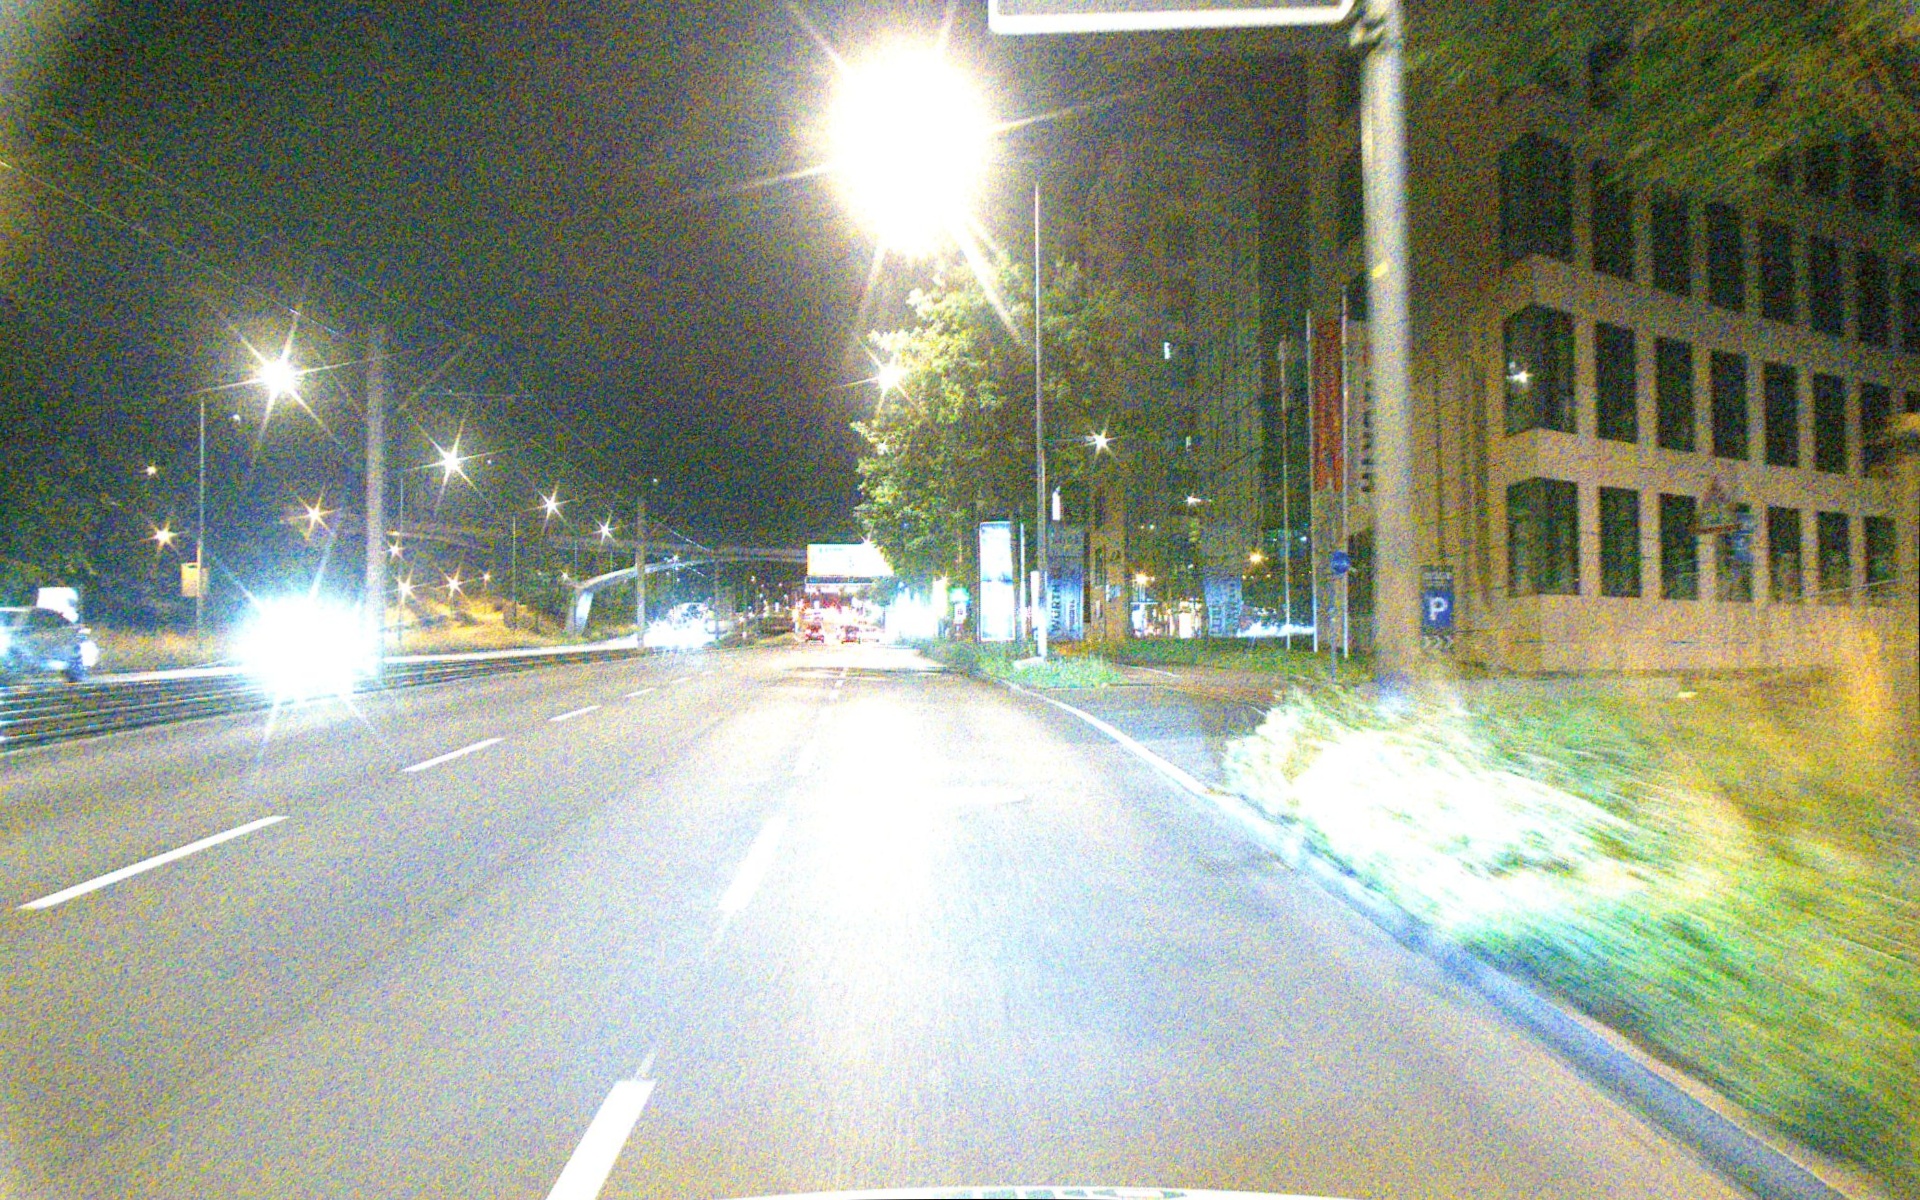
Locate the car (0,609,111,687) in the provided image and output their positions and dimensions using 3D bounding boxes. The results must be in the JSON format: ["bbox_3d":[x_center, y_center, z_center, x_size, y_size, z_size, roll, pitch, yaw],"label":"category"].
[{"bbox_3d":[-20.112,1.001,35.115,1.824,1.540,4.612,-2,0,-1],"label":"car"}]

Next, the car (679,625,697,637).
[{"bbox_3d":[-33.845,3.869,205.882,1.873,1.499,3.768,0,0,-4],"label":"car"}]

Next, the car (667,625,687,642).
[{"bbox_3d":[-31.393,3.697,183.446,1.826,1.781,3.698,0,0,-4],"label":"car"}]

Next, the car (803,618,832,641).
[{"bbox_3d":[-13.221,2.721,153.757,2.216,2.049,4.825,0,0,0],"label":"car"}]

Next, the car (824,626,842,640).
[{"bbox_3d":[-14.478,3.798,188.981,1.954,1.580,3.997,0,-1,-3],"label":"car"}]

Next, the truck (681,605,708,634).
[{"bbox_3d":[-35.464,2.601,220.920,2.980,3.886,4.931,0,0,-3],"label":"truck"}]

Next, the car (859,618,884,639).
[{"bbox_3d":[-9.354,2.994,175.484,2.378,2.150,4.825,0,0,0],"label":"car"}]

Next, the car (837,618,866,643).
[{"bbox_3d":[-9.738,2.713,148.689,2.308,2.166,4.825,0,0,0],"label":"car"}]

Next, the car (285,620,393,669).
[{"bbox_3d":[-20.048,1.414,53.656,1.829,1.454,4.953,1,0,-3],"label":"car"}]
